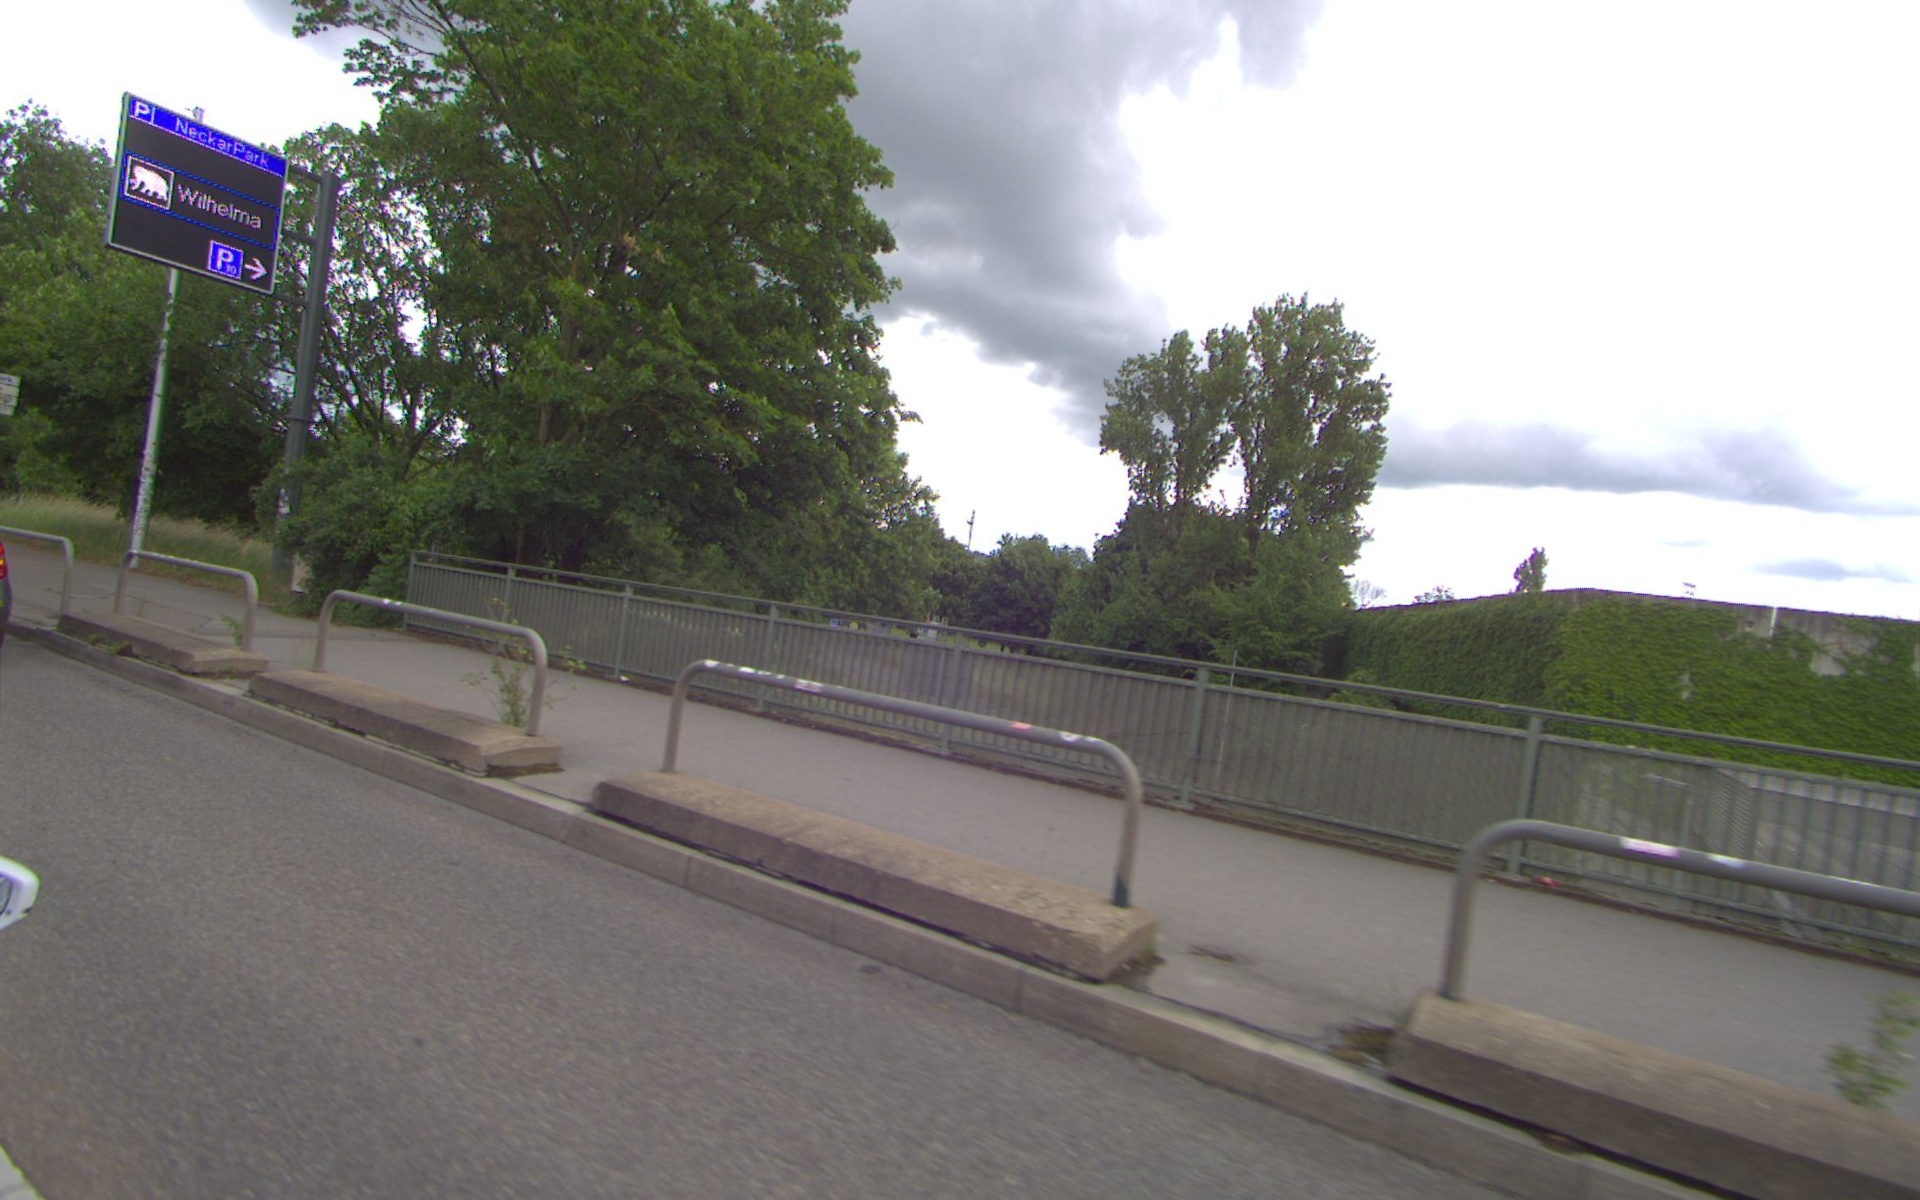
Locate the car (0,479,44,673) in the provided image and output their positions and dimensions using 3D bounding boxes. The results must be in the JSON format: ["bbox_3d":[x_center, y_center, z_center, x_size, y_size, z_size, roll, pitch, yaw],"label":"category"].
[{"bbox_3d":[-10.166,-0.404,9.069,3.970,1.635,1.828,5,-2,34],"label":"car"}]
